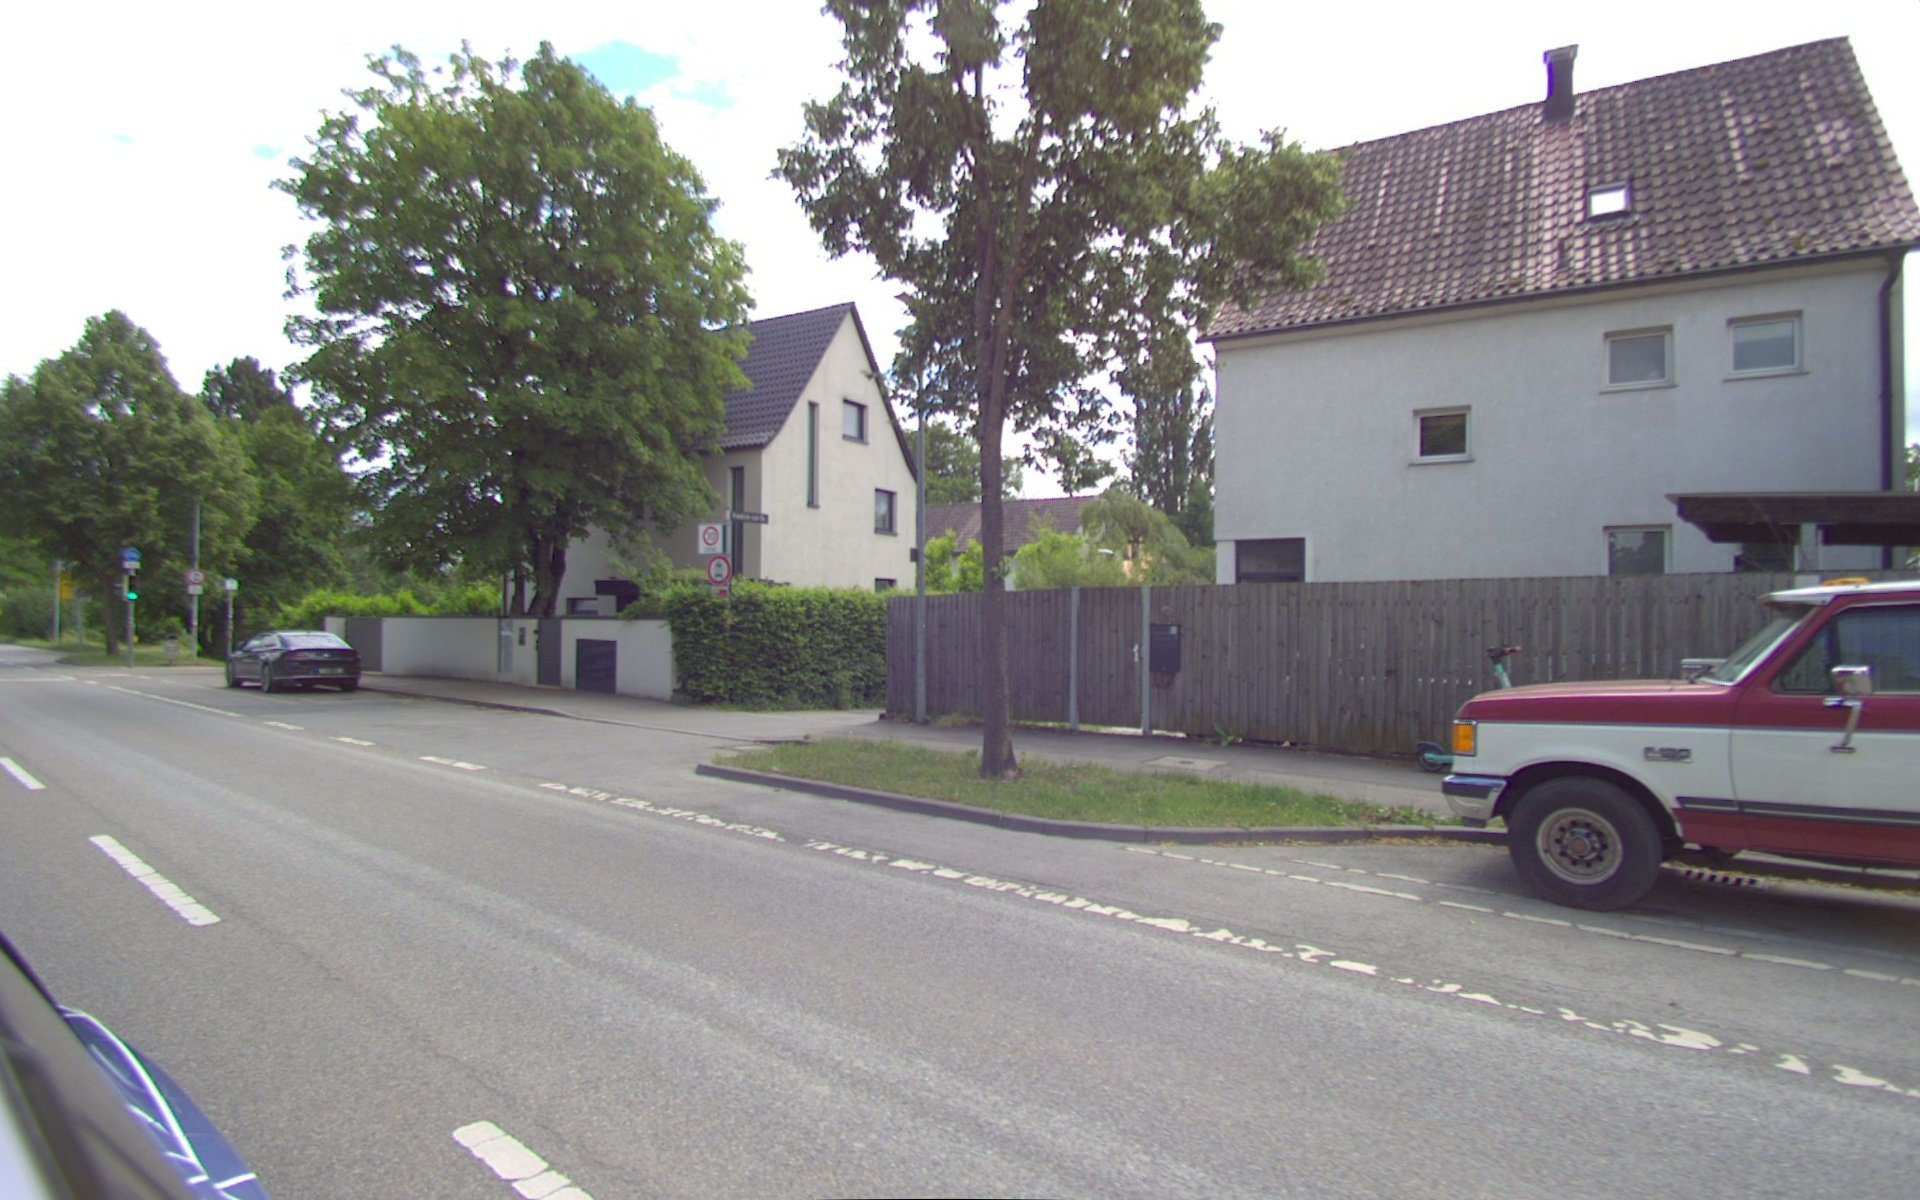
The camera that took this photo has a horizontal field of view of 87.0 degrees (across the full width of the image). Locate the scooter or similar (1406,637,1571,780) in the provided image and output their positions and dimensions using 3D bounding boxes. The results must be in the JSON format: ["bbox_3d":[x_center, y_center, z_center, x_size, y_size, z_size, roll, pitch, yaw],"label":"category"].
[{"bbox_3d":[5.050,0.996,9.692,1.303,1.221,0.629,0,1,38],"label":"scooter or similar"}]

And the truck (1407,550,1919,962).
[{"bbox_3d":[5.473,0.753,5.014,5.662,1.882,1.946,-1,-4,42],"label":"truck"}]

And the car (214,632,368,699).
[{"bbox_3d":[-15.974,1.506,24.062,4.924,1.419,1.728,-1,-4,41],"label":"car"}]
